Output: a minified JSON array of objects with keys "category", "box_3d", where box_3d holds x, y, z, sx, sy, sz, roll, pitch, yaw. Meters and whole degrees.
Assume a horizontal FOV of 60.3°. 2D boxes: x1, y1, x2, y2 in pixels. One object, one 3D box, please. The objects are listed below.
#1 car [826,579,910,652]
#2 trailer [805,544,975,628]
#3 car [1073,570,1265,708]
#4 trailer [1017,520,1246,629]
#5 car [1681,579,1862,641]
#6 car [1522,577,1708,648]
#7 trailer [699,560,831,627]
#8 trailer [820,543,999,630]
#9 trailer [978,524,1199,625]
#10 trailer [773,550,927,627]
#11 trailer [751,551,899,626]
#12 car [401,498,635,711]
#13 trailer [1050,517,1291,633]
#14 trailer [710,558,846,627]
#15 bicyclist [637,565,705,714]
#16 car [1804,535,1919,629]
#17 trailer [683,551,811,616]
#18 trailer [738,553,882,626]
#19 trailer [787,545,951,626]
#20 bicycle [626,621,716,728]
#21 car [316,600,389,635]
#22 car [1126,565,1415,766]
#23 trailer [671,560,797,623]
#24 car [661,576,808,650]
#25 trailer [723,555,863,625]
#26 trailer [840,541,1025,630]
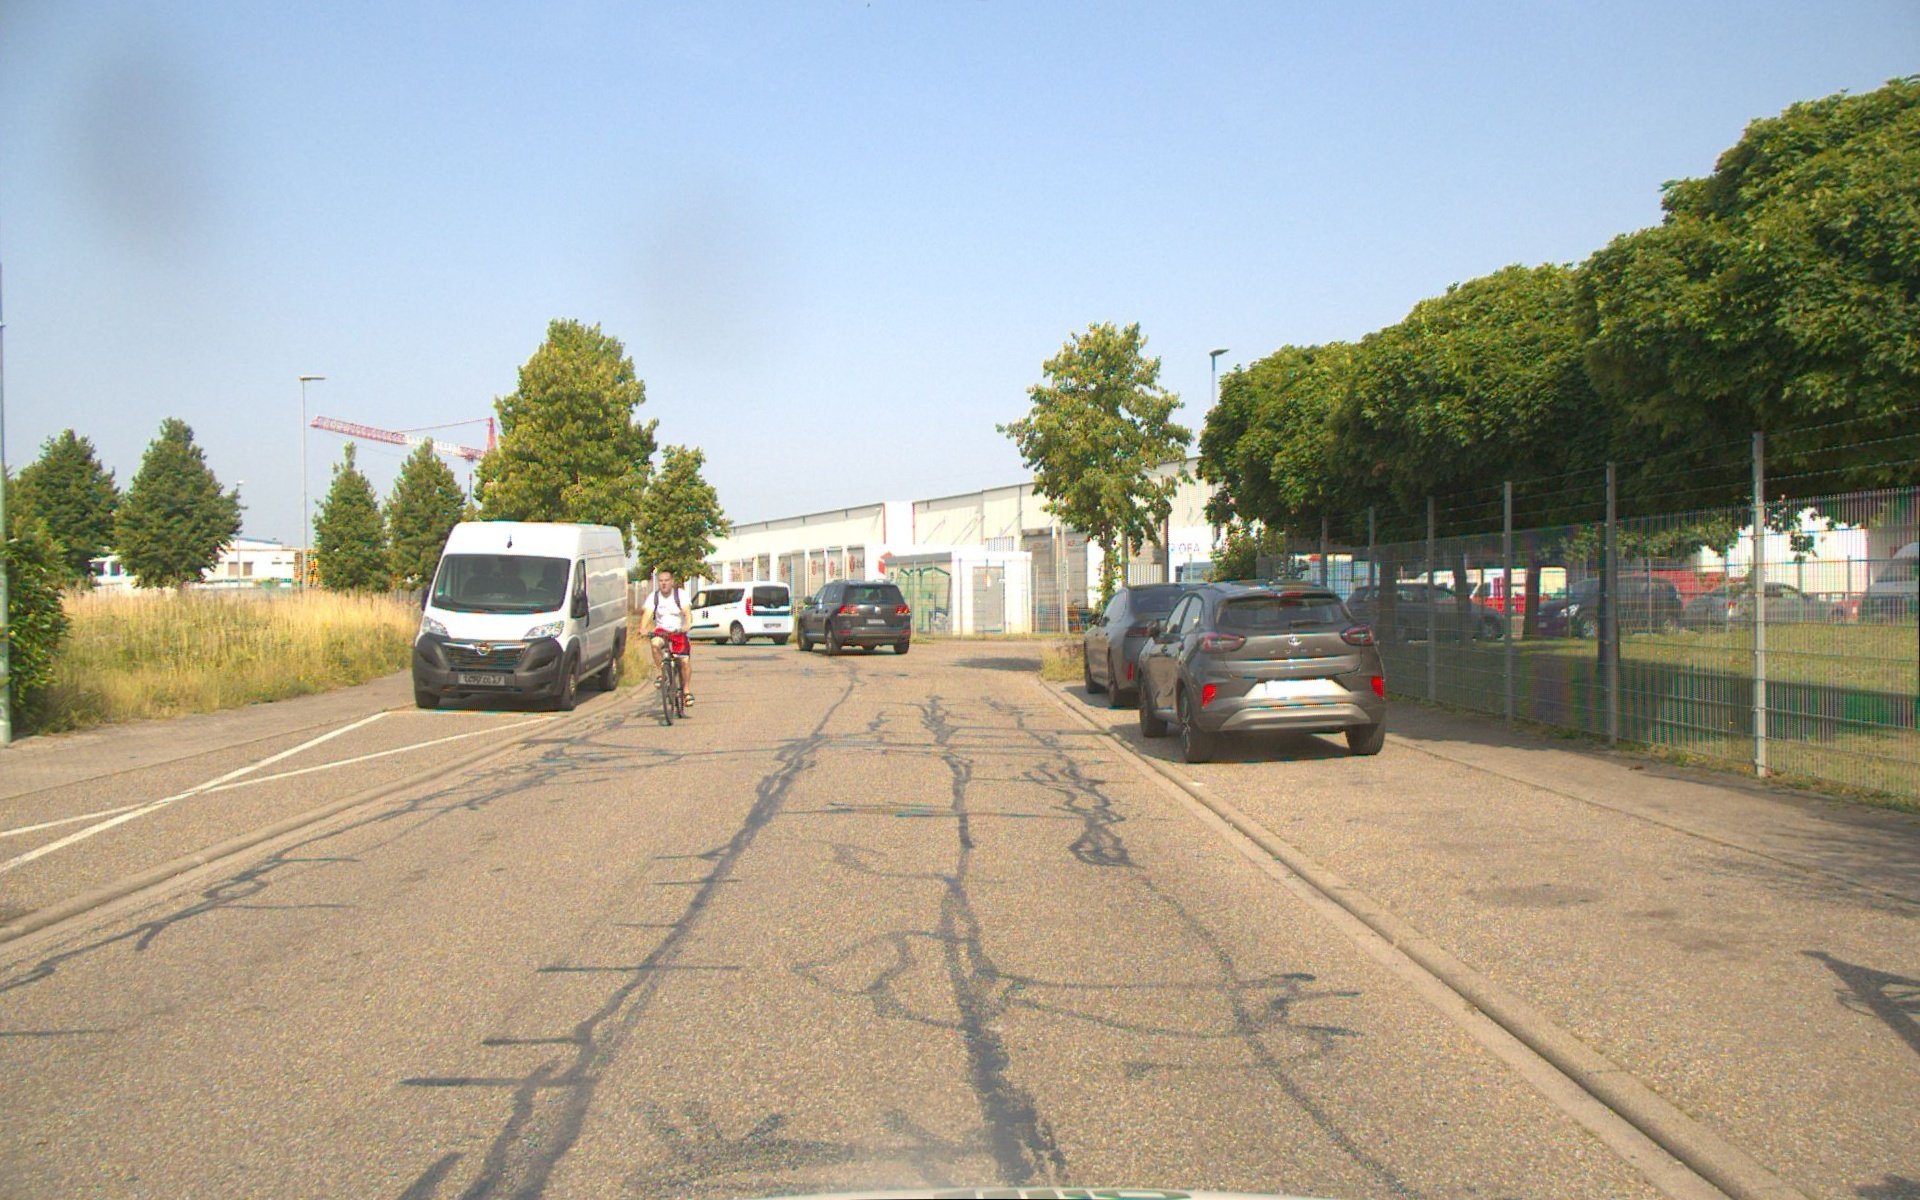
[{"category":"car","box_3d":[-2.123,0.362,39.089,1.843,1.614,4.112,-1,0,-2]},{"category":"trailer","box_3d":[-3.550,-0.665,84.653,8.203,3.962,2.753,2,0,-26]},{"category":"car","box_3d":[2.728,0.487,22.769,1.843,1.601,5.117,-2,0,-1]},{"category":"trailer","box_3d":[6.579,-1.022,63.179,8.424,3.961,2.755,-1,0,-24]},{"category":"car","box_3d":[21.234,0.263,43.278,4.414,1.544,1.717,0,-2,-21]},{"category":"car","box_3d":[16.137,0.269,40.752,4.197,1.654,1.864,0,1,-24]},{"category":"trailer","box_3d":[-12.441,-0.398,105.714,7.863,3.962,2.753,2,0,-26]},{"category":"trailer","box_3d":[-2.465,-0.631,81.819,8.429,3.962,2.753,2,0,-26]},{"category":"trailer","box_3d":[5.148,-0.942,65.801,8.621,3.827,2.768,0,-1,-26]},{"category":"trailer","box_3d":[-6.045,-0.592,91.185,7.932,3.962,2.753,2,0,-26]},{"category":"trailer","box_3d":[-7.609,-0.618,93.715,7.863,3.962,2.753,2,0,-26]},{"category":"car","box_3d":[-6.223,0.045,24.173,2.061,2.640,6.498,2,0,-4]},{"category":"trailer","box_3d":[7.688,-0.859,60.182,8.421,3.962,2.755,0,-2,-23]},{"category":"trailer","box_3d":[-11.221,-0.431,102.058,7.863,3.962,2.753,2,0,-26]},{"category":"bicyclist","box_3d":[-3.484,0.463,20.034,0.626,1.749,1.165,-1,0,-2]},{"category":"car","box_3d":[27.263,-0.520,46.732,6.728,2.526,2.194,0,1,-22]},{"category":"trailer","box_3d":[-13.961,-1.049,108.516,7.863,3.962,2.753,2,0,-26]},{"category":"trailer","box_3d":[-8.735,-0.584,96.480,7.863,3.962,2.753,2,0,-26]},{"category":"trailer","box_3d":[-4.790,-0.724,87.429,8.203,3.962,2.753,2,0,-26]},{"category":"bicycle","box_3d":[-3.480,0.867,20.102,0.701,1.141,2.219,-3,0,-1]},{"category":"car","box_3d":[-28.972,0.816,78.847,3.936,1.541,1.709,0,2,44]},{"category":"car","box_3d":[2.784,0.549,15.769,1.843,1.601,4.112,-2,0,-2]},{"category":"trailer","box_3d":[-15.176,-0.518,111.231,7.863,3.962,2.753,2,0,-26]},{"category":"car","box_3d":[-6.873,0.402,50.104,2.113,2.147,4.548,0,-1,-45]},{"category":"trailer","box_3d":[-10.000,-0.575,99.441,7.863,3.962,2.753,2,0,-26]},{"category":"trailer","box_3d":[-1.280,-0.645,78.941,8.429,3.962,2.753,2,0,-26]}]
